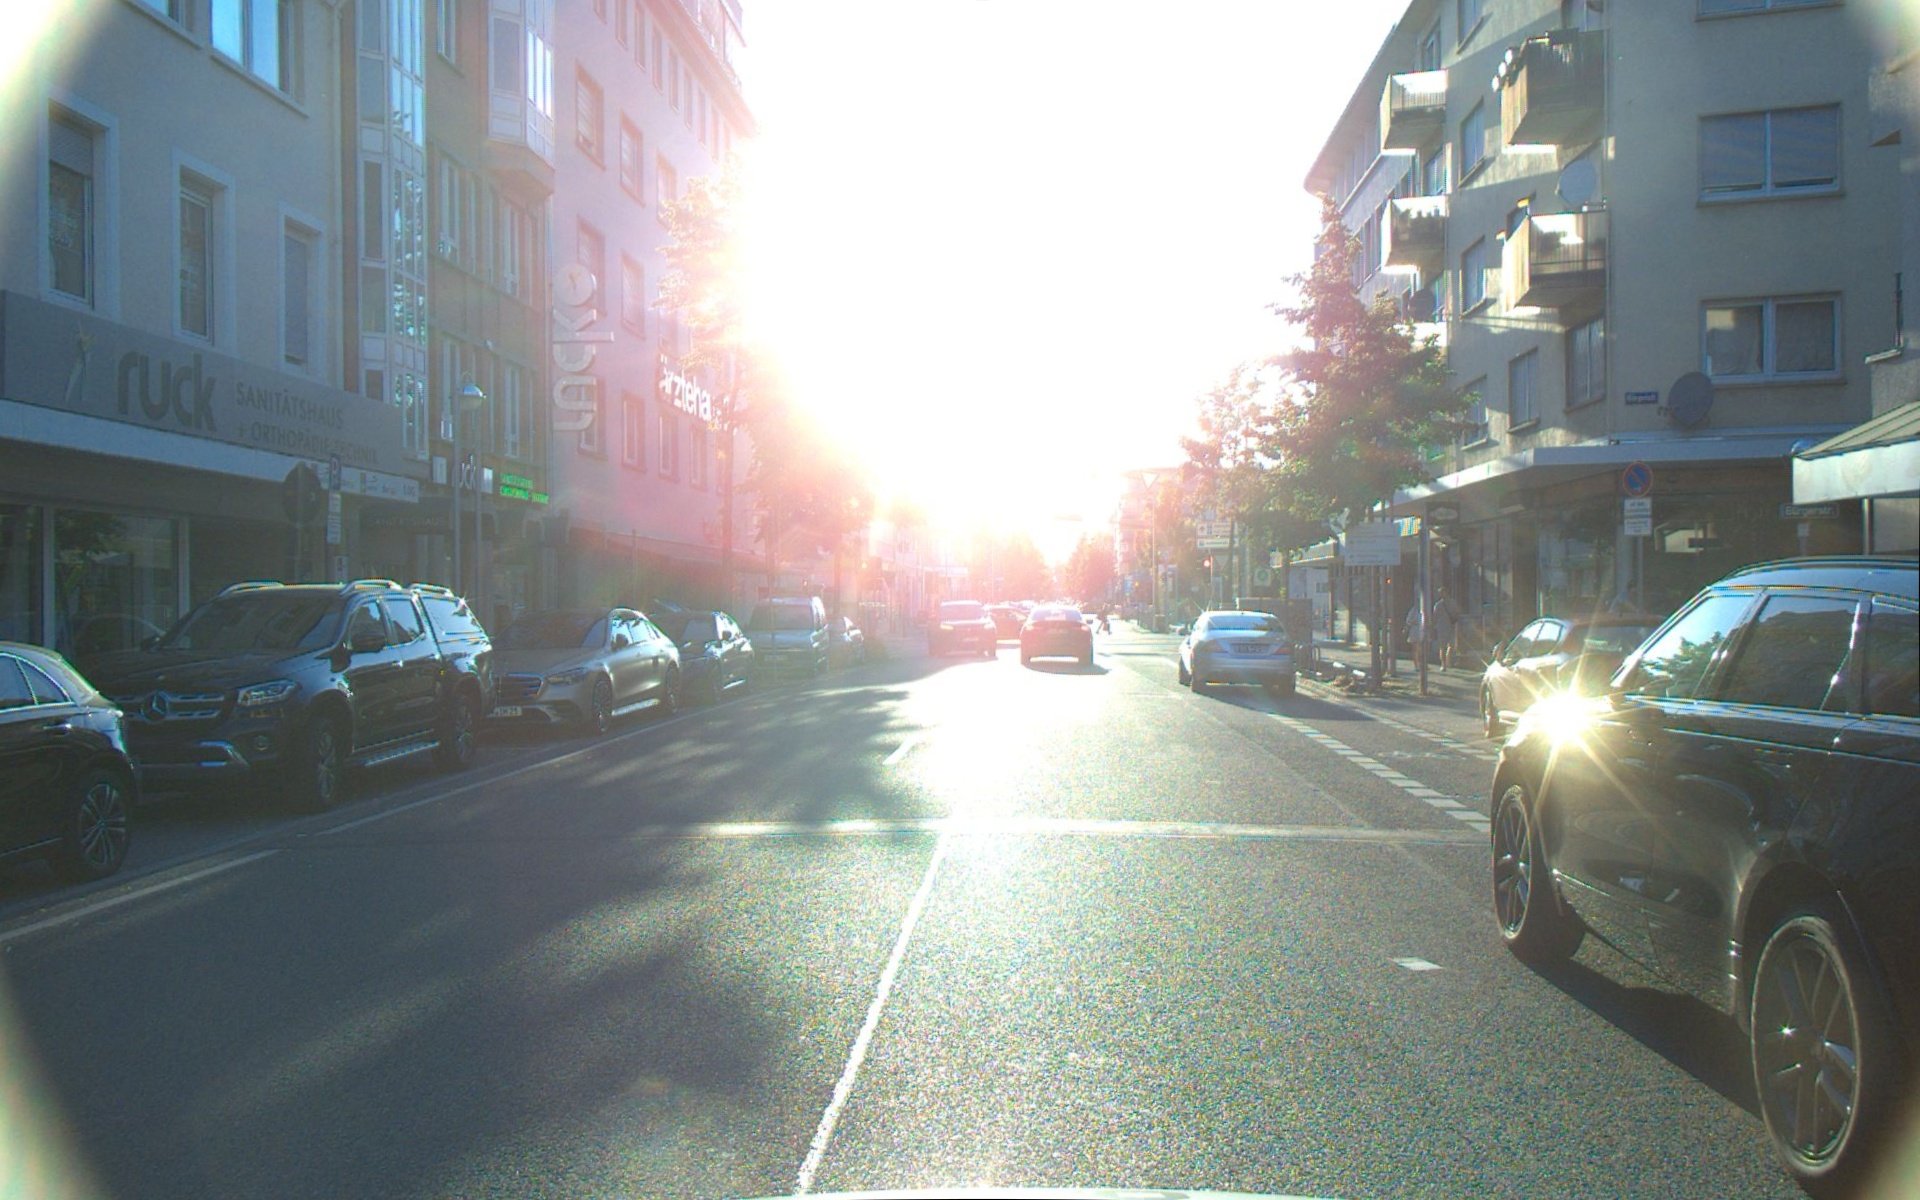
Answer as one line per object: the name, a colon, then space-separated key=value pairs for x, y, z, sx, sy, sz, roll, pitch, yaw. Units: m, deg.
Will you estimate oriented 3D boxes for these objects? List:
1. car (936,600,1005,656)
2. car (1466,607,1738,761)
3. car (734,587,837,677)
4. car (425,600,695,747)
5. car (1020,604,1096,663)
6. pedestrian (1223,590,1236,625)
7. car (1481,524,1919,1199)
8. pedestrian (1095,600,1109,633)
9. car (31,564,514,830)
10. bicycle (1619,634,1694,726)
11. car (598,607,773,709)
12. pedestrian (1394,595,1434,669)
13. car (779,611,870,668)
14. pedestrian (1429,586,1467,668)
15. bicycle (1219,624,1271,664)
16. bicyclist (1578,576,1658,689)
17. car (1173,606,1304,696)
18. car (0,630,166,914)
car: x=0.369 y=0.835 z=51.454 sx=1.881 sy=1.630 sz=4.328 roll=0 pitch=1 yaw=4
car: x=6.866 y=0.835 z=18.114 sx=1.667 sy=1.461 sz=3.934 roll=-1 pitch=0 yaw=4
car: x=-3.822 y=0.685 z=36.797 sx=1.795 sy=1.887 sz=4.124 roll=0 pitch=0 yaw=1
car: x=-4.939 y=0.831 z=21.243 sx=1.789 sy=1.583 sz=5.139 roll=-2 pitch=0 yaw=5
car: x=2.560 y=0.819 z=42.742 sx=1.844 sy=1.440 sz=4.327 roll=0 pitch=0 yaw=4
pedestrian: x=13.781 y=0.371 z=84.540 sx=0.487 sy=1.745 sz=0.460 roll=0 pitch=1 yaw=-16
car: x=3.289 y=0.692 z=5.434 sx=1.953 sy=1.684 sz=4.676 roll=1 pitch=0 yaw=4
pedestrian: x=7.361 y=0.855 z=85.928 sx=0.565 sy=1.673 sz=0.525 roll=0 pitch=1 yaw=-17
car: x=-5.654 y=0.691 z=14.527 sx=1.789 sy=1.842 sz=5.350 roll=-2 pitch=0 yaw=2
bicycle: x=8.654 y=0.971 z=20.605 sx=0.298 sy=1.057 sz=1.718 roll=0 pitch=0 yaw=3
car: x=-4.400 y=0.887 z=27.228 sx=1.789 sy=1.464 sz=4.555 roll=-3 pitch=0 yaw=4
pedestrian: x=9.936 y=0.692 z=36.240 sx=0.673 sy=1.586 sz=0.863 roll=-1 pitch=0 yaw=4
car: x=-3.444 y=0.984 z=42.728 sx=1.795 sy=1.351 sz=4.125 roll=-1 pitch=0 yaw=3
pedestrian: x=10.634 y=0.584 z=36.077 sx=0.673 sy=1.752 sz=0.717 roll=-1 pitch=-1 yaw=10
bicycle: x=8.643 y=1.322 z=50.099 sx=1.506 sy=1.165 sz=0.382 roll=1 pitch=1 yaw=5
bicyclist: x=10.335 y=0.504 z=25.970 sx=1.071 sy=1.732 sz=0.651 roll=-1 pitch=0 yaw=30
car: x=4.955 y=0.856 z=30.004 sx=1.881 sy=1.440 sz=4.550 roll=2 pitch=0 yaw=4
car: x=-5.967 y=0.957 z=8.227 sx=1.677 sy=1.465 sz=4.312 roll=-2 pitch=0 yaw=4
